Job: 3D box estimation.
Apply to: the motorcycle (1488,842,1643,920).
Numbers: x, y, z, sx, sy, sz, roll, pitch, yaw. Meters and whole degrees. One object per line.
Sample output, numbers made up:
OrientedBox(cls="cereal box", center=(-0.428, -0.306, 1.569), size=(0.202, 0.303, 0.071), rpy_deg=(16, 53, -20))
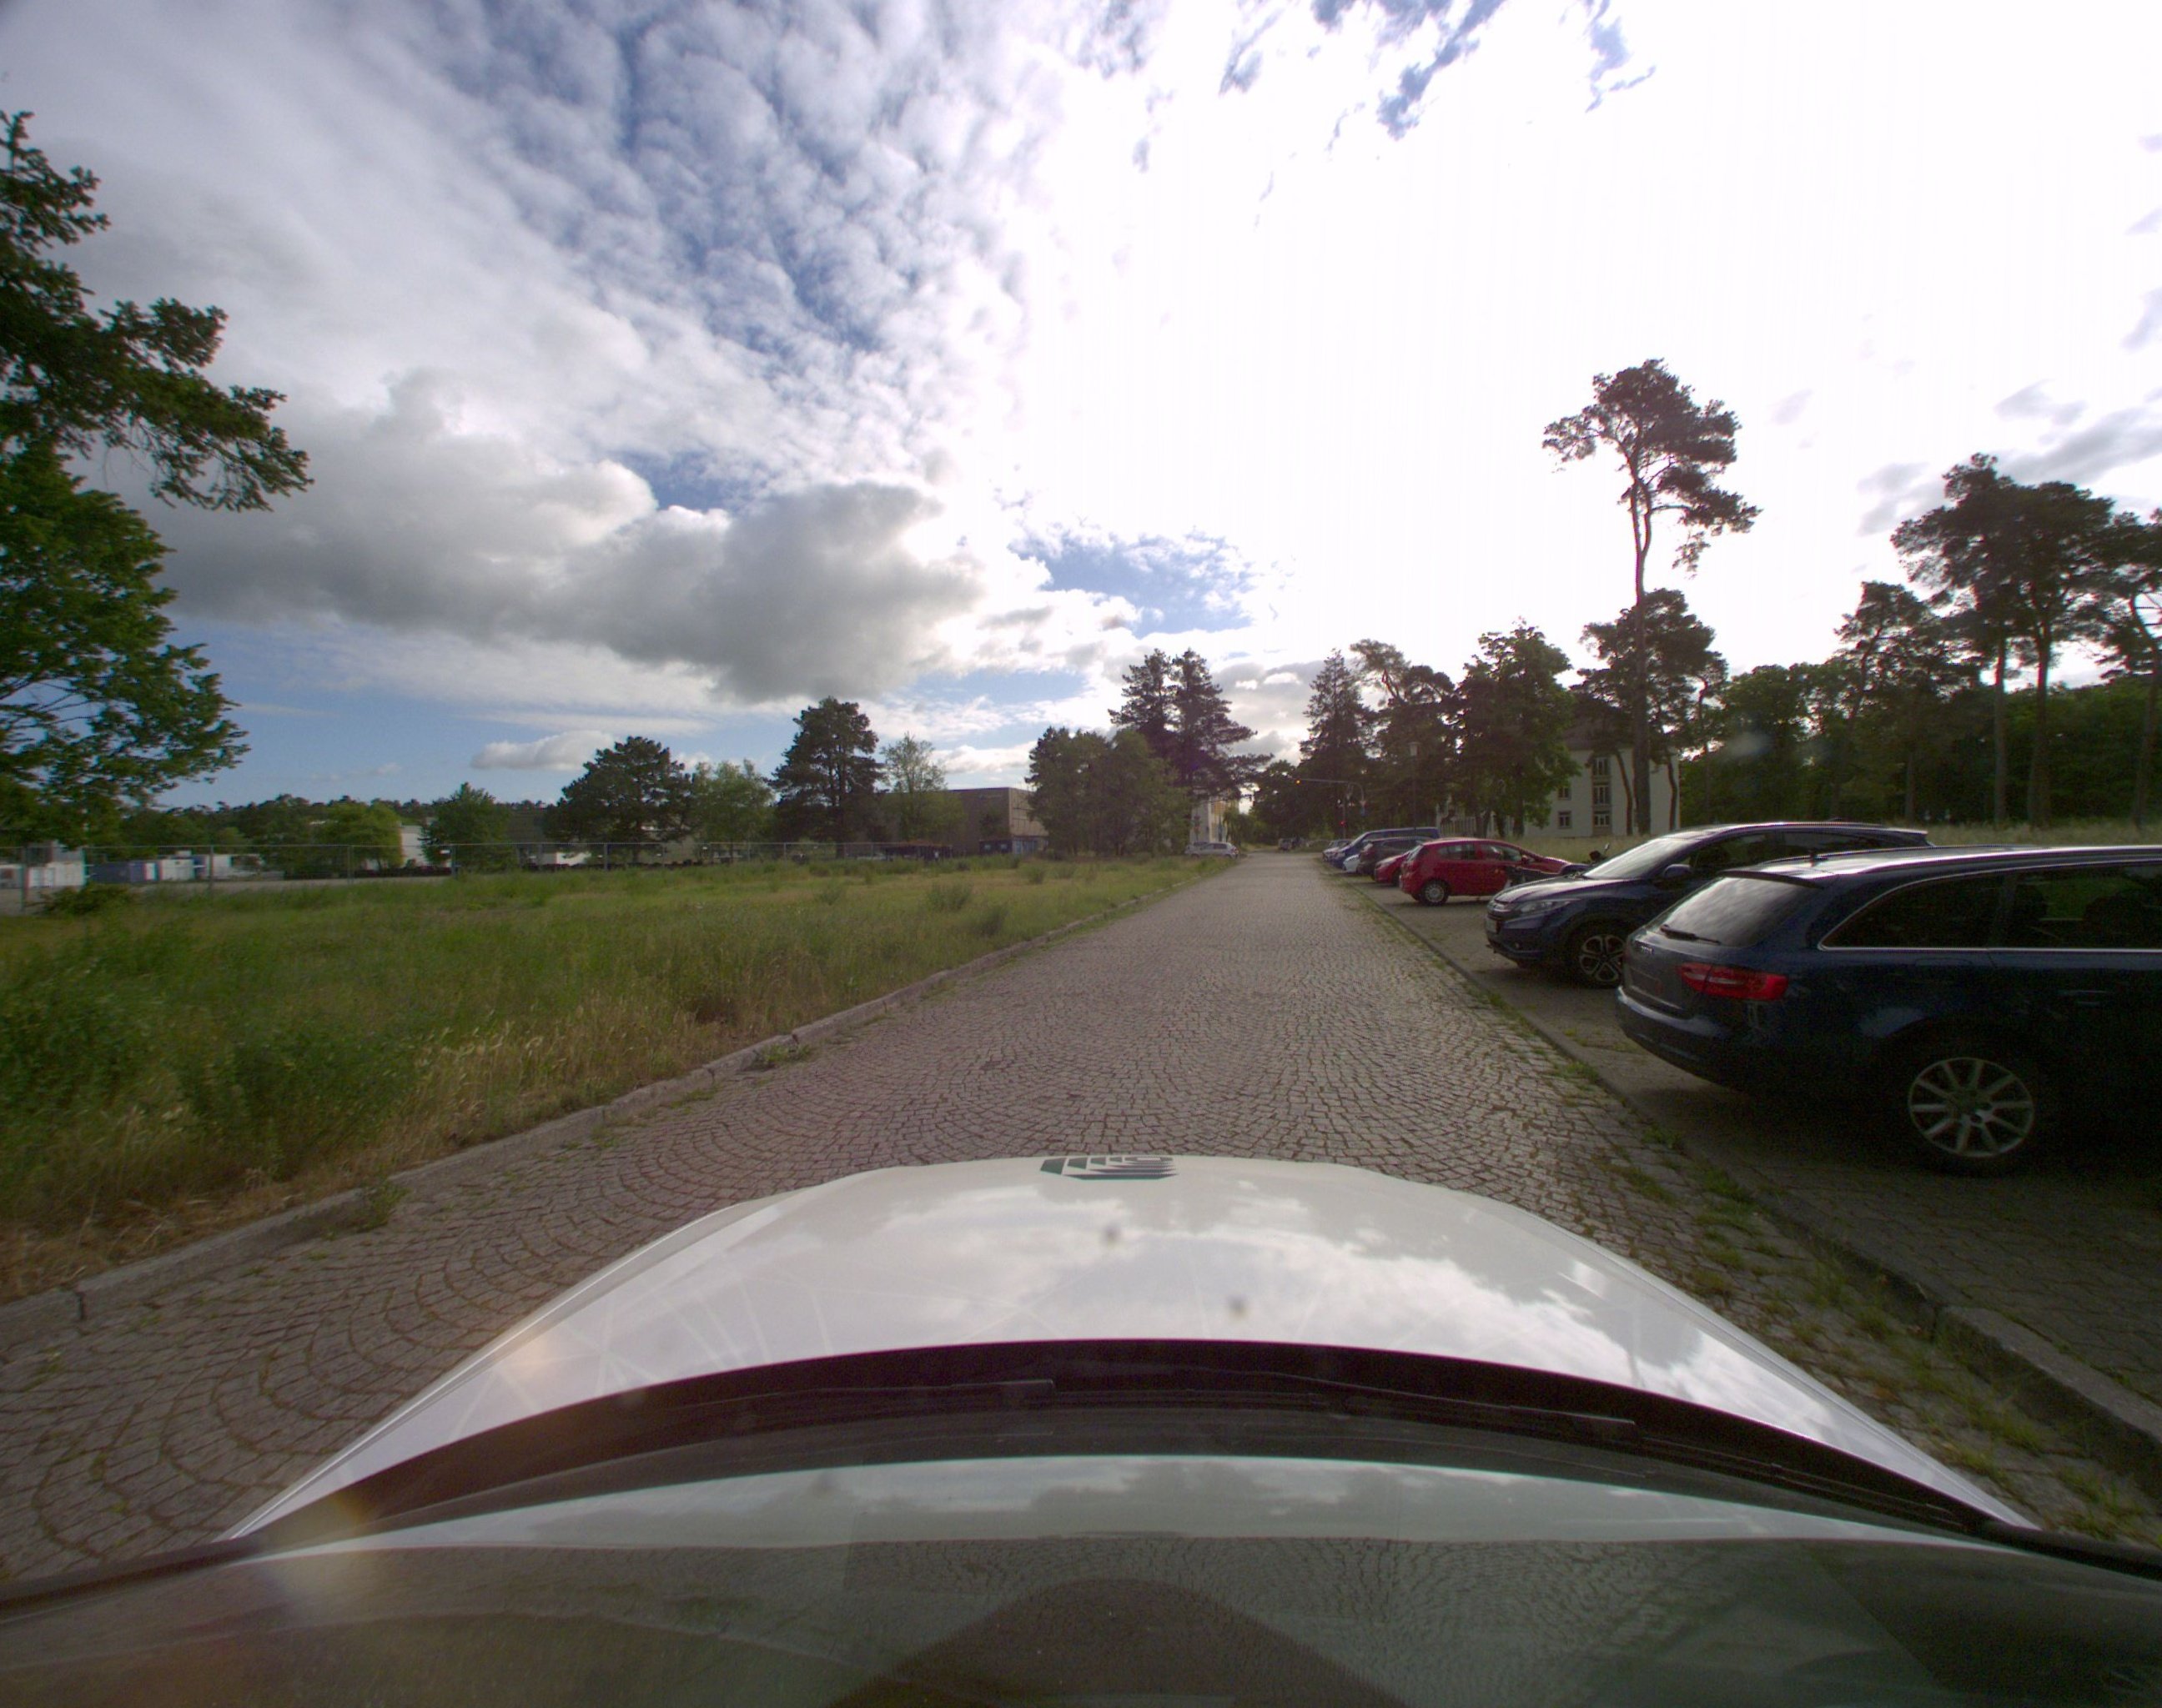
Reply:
OrientedBox(cls="motorcycle", center=(8.435, 0.461, 14.257), size=(2.251, 1.275, 0.607), rpy_deg=(-2, 0, 9))

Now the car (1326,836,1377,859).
OrientedBox(cls="car", center=(20.054, -0.497, 60.466), size=(3.369, 1.543, 1.394), rpy_deg=(-2, 1, 8))

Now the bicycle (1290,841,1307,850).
OrientedBox(cls="bicycle", center=(29.270, -1.145, 109.451), size=(2.148, 1.268, 0.814), rpy_deg=(-1, 0, 8))

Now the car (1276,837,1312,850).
OrientedBox(cls="car", center=(33.041, -1.626, 126.341), size=(5.028, 2.013, 2.002), rpy_deg=(-1, 1, 4))

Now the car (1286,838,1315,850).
OrientedBox(cls="car", center=(33.152, -1.481, 122.923), size=(3.964, 1.644, 2.005), rpy_deg=(-1, 1, 8))

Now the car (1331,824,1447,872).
OrientedBox(cls="car", center=(14.017, -0.274, 37.336), size=(4.750, 2.039, 1.744), rpy_deg=(-2, 1, 12))

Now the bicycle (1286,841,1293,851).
OrientedBox(cls="bicycle", center=(26.976, -1.019, 105.527), size=(0.804, 1.268, 1.981), rpy_deg=(-1, 1, 15))

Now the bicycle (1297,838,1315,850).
OrientedBox(cls="bicycle", center=(30.342, -1.326, 109.916), size=(2.148, 1.615, 0.814), rpy_deg=(-1, 0, 8))

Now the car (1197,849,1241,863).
OrientedBox(cls="car", center=(11.780, 0.158, 69.760), size=(3.650, 1.093, 1.650), rpy_deg=(-2, 1, 8))

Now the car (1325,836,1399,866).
OrientedBox(cls="car", center=(15.670, -0.173, 45.567), size=(3.582, 1.506, 1.666), rpy_deg=(-2, 1, 3))

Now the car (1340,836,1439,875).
OrientedBox(cls="car", center=(13.170, 0.055, 34.979), size=(3.697, 1.424, 1.660), rpy_deg=(-3, 0, 12))

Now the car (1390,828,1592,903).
OrientedBox(cls="car", center=(9.260, 0.247, 18.715), size=(3.812, 1.505, 1.744), rpy_deg=(-2, 0, 13))

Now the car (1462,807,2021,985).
OrientedBox(cls="car", center=(6.611, 0.435, 8.753), size=(4.232, 1.573, 1.903), rpy_deg=(-3, 1, 14))

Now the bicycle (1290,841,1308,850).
OrientedBox(cls="bicycle", center=(29.127, -1.142, 108.879), size=(2.148, 1.268, 0.814), rpy_deg=(-1, 0, 8))

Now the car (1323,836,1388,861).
OrientedBox(cls="car", center=(18.589, -0.354, 55.273), size=(3.963, 1.543, 1.668), rpy_deg=(-2, 1, 8))

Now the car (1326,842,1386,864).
OrientedBox(cls="car", center=(17.166, -0.086, 50.983), size=(3.273, 1.267, 1.668), rpy_deg=(-2, 1, 8))

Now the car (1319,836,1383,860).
OrientedBox(cls="car", center=(19.190, -0.456, 58.023), size=(4.099, 1.543, 1.668), rpy_deg=(-2, 1, 8))

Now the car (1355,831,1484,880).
OrientedBox(cls="car", center=(11.811, 0.054, 28.650), size=(3.923, 1.580, 1.768), rpy_deg=(-1, 1, 13))

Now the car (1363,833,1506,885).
OrientedBox(cls="car", center=(11.231, 0.159, 26.123), size=(3.958, 1.518, 1.745), rpy_deg=(-1, 1, 14))

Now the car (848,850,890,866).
OrientedBox(cls="car", center=(-23.035, 0.401, 88.452), size=(3.958, 1.553, 1.816), rpy_deg=(-1, 1, 14))

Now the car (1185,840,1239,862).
OrientedBox(cls="car", center=(9.961, -0.238, 62.151), size=(3.964, 1.552, 2.005), rpy_deg=(-2, 1, 8))

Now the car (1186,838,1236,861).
OrientedBox(cls="car", center=(10.776, -0.377, 67.585), size=(3.965, 1.750, 1.931), rpy_deg=(-1, 1, 7))

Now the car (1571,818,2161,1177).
OrientedBox(cls="car", center=(5.333, 0.584, 4.179), size=(4.469, 1.464, 1.904), rpy_deg=(-3, 0, 18))

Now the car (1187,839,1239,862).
OrientedBox(cls="car", center=(10.462, -0.286, 64.650), size=(3.964, 1.706, 2.005), rpy_deg=(-2, 1, 8))
